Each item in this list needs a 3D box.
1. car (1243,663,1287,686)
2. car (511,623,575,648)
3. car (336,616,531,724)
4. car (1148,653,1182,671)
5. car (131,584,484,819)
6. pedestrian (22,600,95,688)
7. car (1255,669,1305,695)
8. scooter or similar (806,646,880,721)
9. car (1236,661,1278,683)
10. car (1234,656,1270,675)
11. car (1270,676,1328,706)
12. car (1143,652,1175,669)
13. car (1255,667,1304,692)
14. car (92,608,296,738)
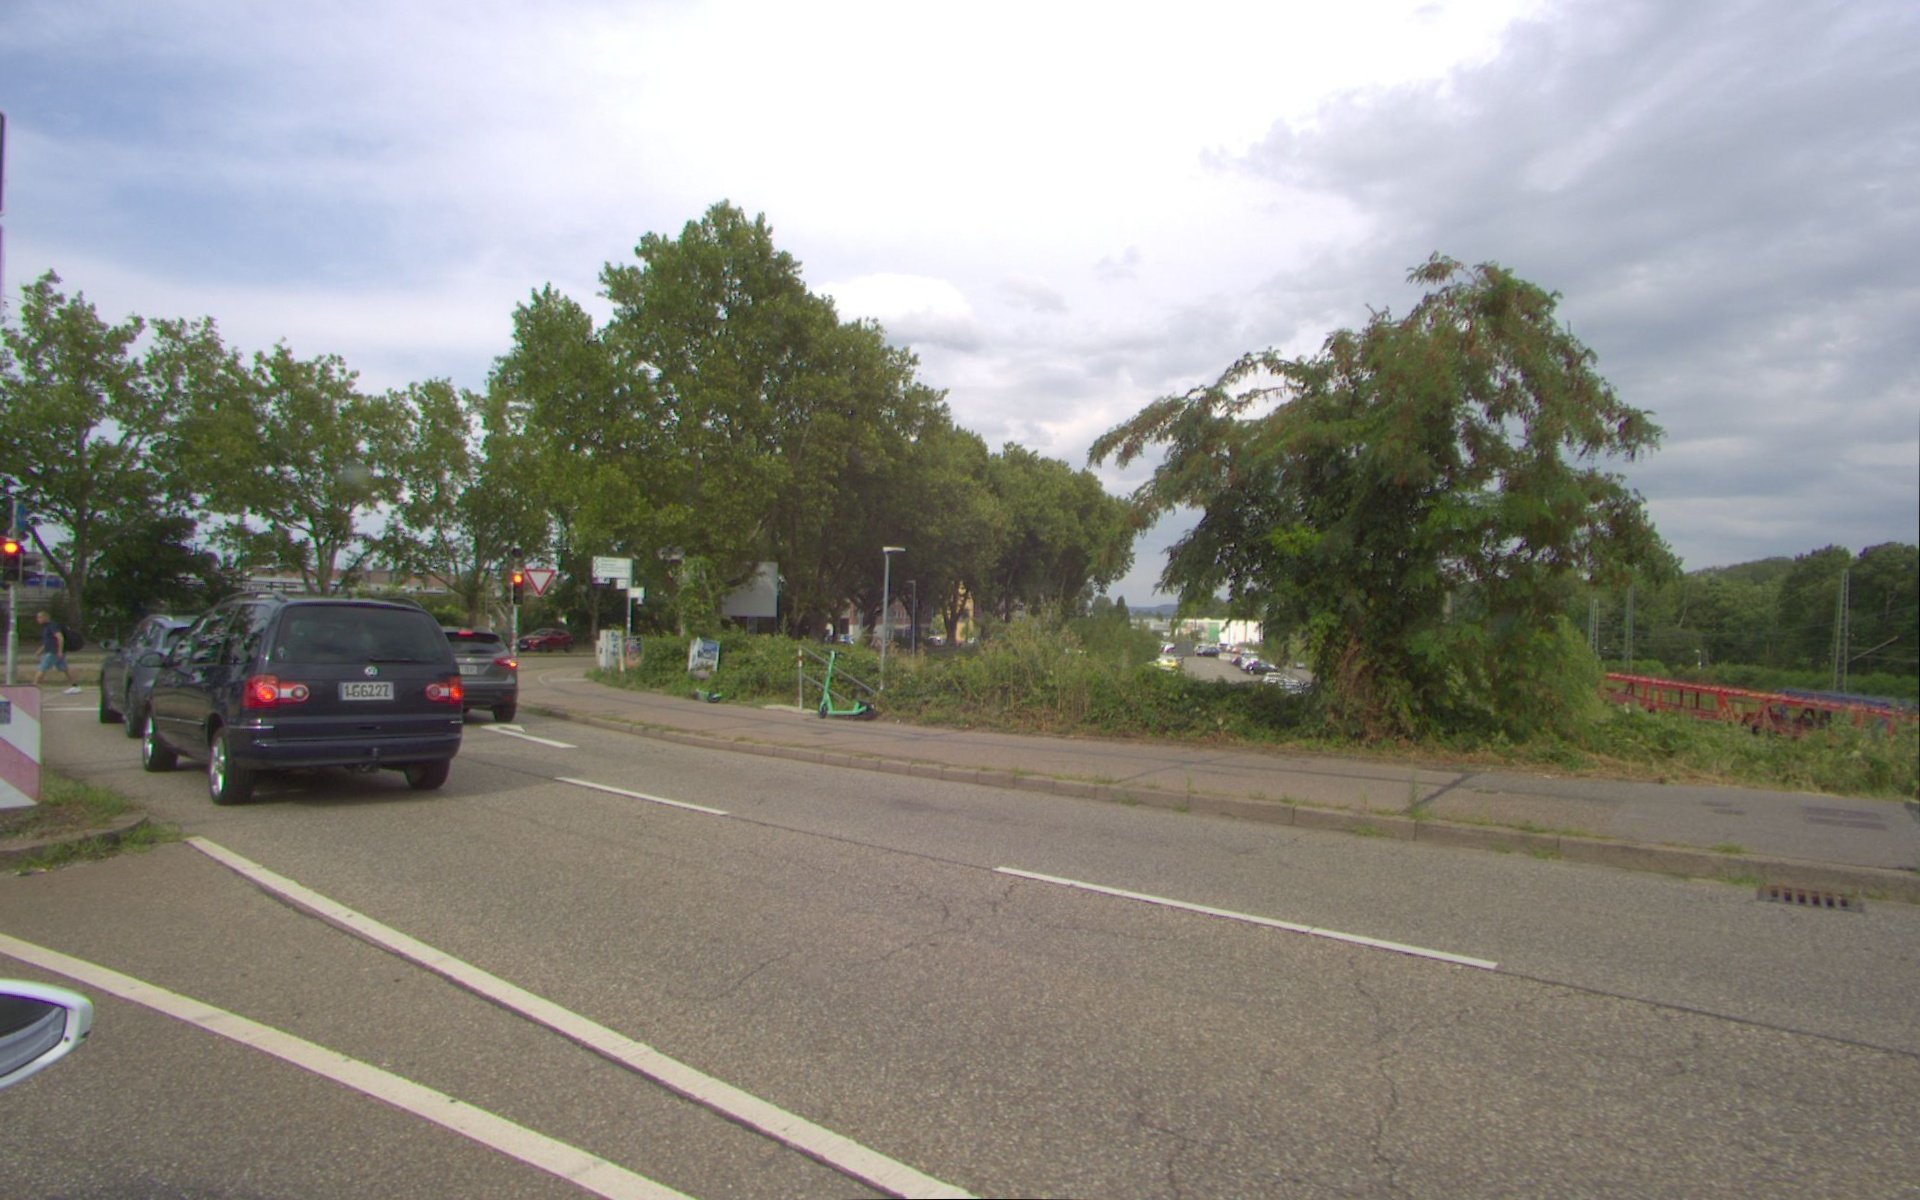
[{"bbox_3d":[30.174,7.390,99.094,3.923,2.040,1.762,1,0,9],"label":"car"},{"bbox_3d":[-26.666,2.249,64.202,1.671,1.467,3.959,1,-1,17],"label":"car"},{"bbox_3d":[-9.251,1.159,17.447,4.094,1.663,1.742,-1,-4,43],"label":"car"},{"bbox_3d":[25.646,7.692,125.251,3.926,2.040,1.761,1,0,15],"label":"car"},{"bbox_3d":[-6.299,0.836,9.488,4.091,1.746,1.743,-1,-4,42],"label":"car"},{"bbox_3d":[-18.434,0.896,20.508,1.039,1.732,0.846,2,-1,-40],"label":"pedestrian"},{"bbox_3d":[27.985,7.159,87.675,3.923,2.040,1.762,1,0,9],"label":"car"},{"bbox_3d":[-1.955,1.375,16.720,1.262,1.198,0.396,-1,-1,32],"label":"scooter or similar"},{"bbox_3d":[31.028,7.499,104.757,3.923,2.040,1.762,1,0,9],"label":"car"},{"bbox_3d":[34.952,7.833,120.111,3.923,2.040,1.762,1,0,9],"label":"car"},{"bbox_3d":[25.968,6.941,76.848,3.923,2.040,1.762,1,0,9],"label":"car"},{"bbox_3d":[25.499,7.734,128.149,3.926,2.040,1.761,1,0,15],"label":"car"},{"bbox_3d":[29.019,7.235,90.994,3.923,2.040,1.762,1,0,9],"label":"car"},{"bbox_3d":[-11.111,0.987,14.420,4.112,1.605,1.682,-1,-4,44],"label":"car"}]
